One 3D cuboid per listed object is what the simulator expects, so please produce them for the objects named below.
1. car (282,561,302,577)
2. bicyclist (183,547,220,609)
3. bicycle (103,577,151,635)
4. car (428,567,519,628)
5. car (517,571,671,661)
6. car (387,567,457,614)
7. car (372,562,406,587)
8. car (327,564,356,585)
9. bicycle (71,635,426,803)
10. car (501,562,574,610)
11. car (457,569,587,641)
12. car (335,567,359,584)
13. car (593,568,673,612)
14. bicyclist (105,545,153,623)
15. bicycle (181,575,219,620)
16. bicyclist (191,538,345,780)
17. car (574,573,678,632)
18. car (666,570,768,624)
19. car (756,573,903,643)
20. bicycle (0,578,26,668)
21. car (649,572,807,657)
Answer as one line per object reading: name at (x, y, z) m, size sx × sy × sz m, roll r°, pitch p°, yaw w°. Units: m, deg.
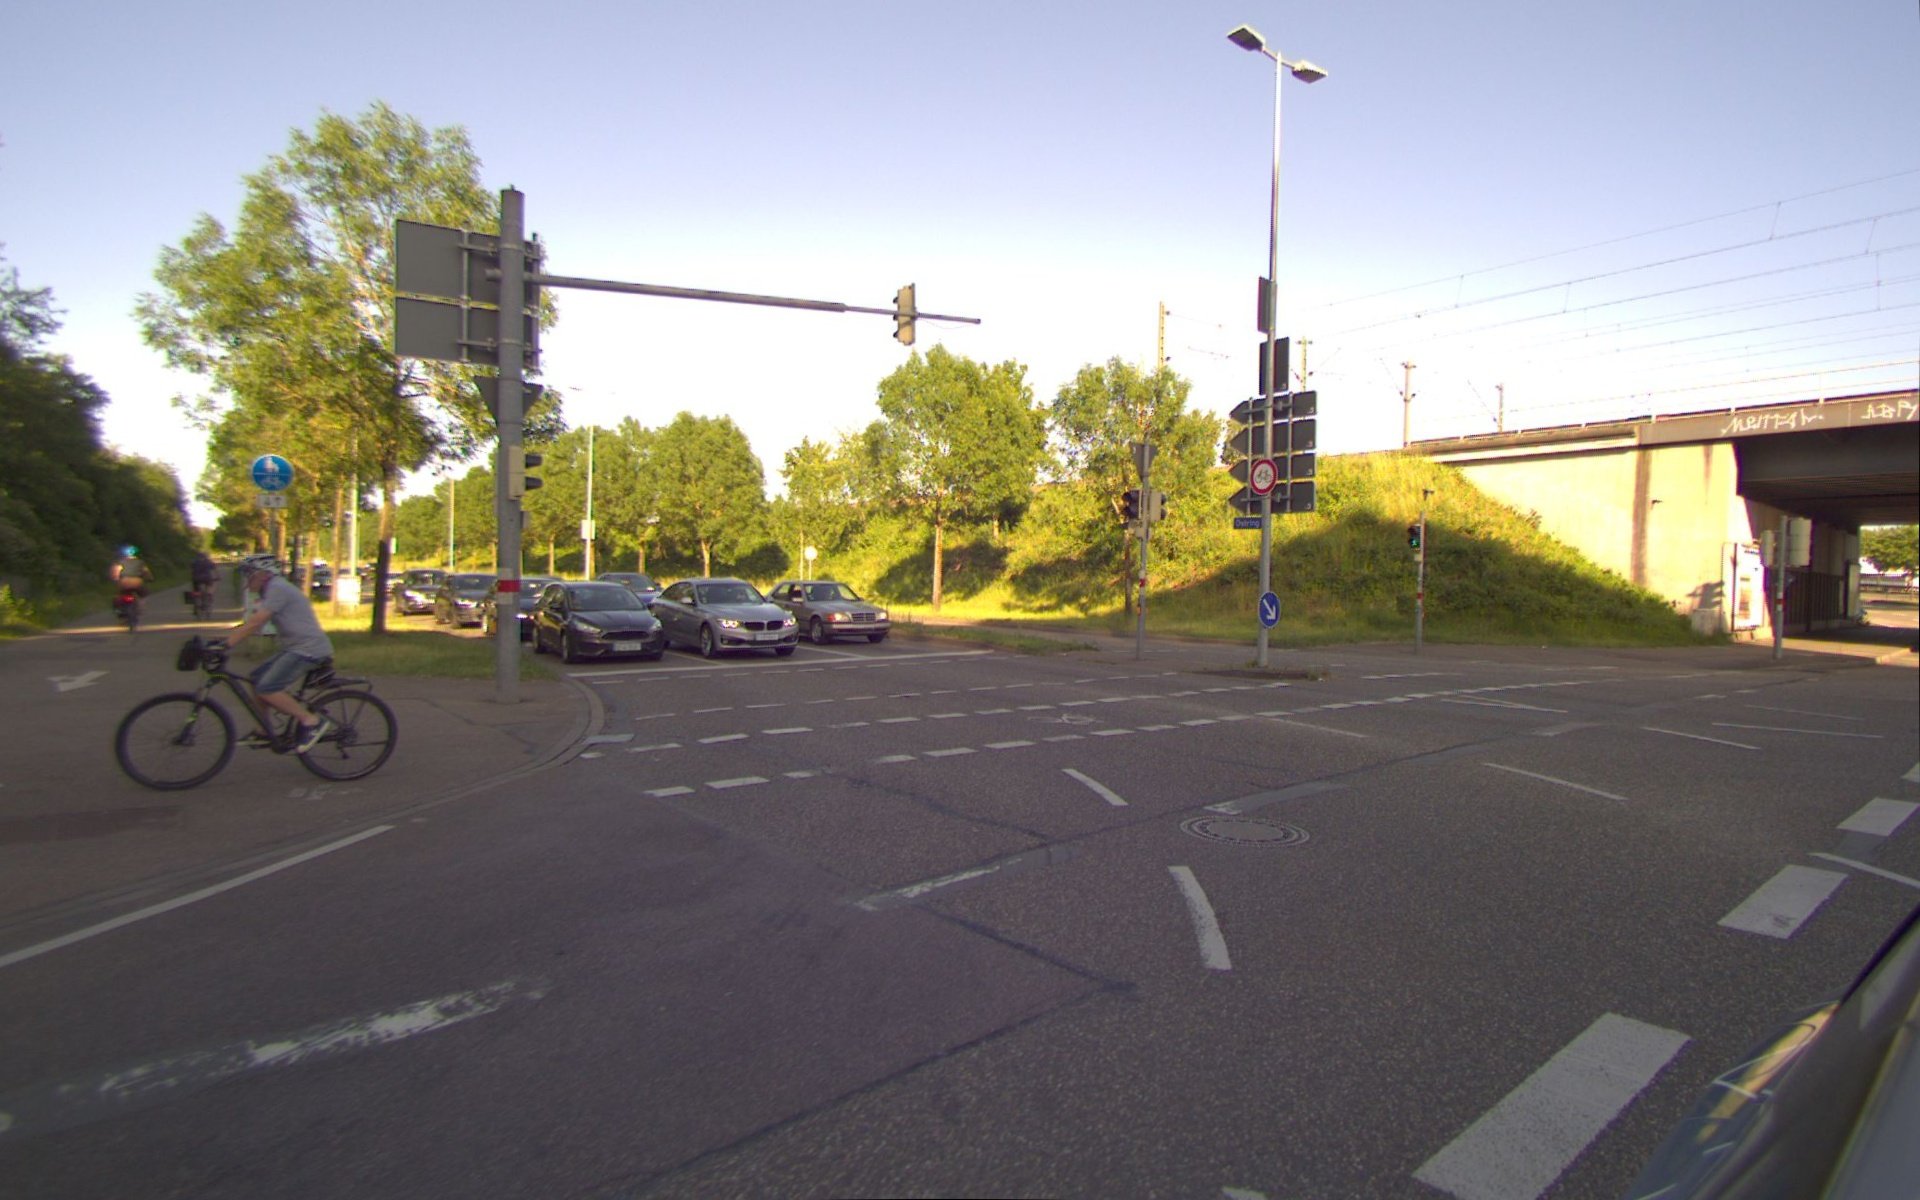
car at (-66.459, -3.073, 100.624) m, size 1.590 × 1.548 × 3.856 m, roll -2°, pitch 3°, yaw -34°
bicyclist at (-20.177, -0.592, 26.916) m, size 0.687 × 1.567 × 0.814 m, roll 4°, pitch 0°, yaw -39°
bicycle at (-17.199, 0.103, 20.930) m, size 0.687 × 1.049 × 2.262 m, roll 4°, pitch 0°, yaw -39°
car at (-14.040, -0.141, 29.081) m, size 1.740 × 1.548 × 4.142 m, roll -2°, pitch 3°, yaw -34°
car at (-7.126, 0.211, 19.472) m, size 1.772 × 1.493 × 4.000 m, roll -1°, pitch 3°, yaw -35°
car at (-19.373, -0.393, 36.377) m, size 1.759 × 1.548 × 3.856 m, roll -2°, pitch 3°, yaw -34°
car at (-37.371, -1.690, 66.207) m, size 1.590 × 1.548 × 3.856 m, roll -2°, pitch 3°, yaw -34°
car at (-57.155, -2.333, 93.499) m, size 1.818 × 1.830 × 3.997 m, roll 0°, pitch 1°, yaw -38°
bicycle at (-5.030, 0.782, 7.273) m, size 2.010 × 1.004 × 0.572 m, roll 1°, pitch 1°, yaw -41°
car at (-14.806, -0.538, 35.385) m, size 1.590 × 1.548 × 3.856 m, roll -2°, pitch 3°, yaw -34°
car at (-10.697, 0.044, 24.599) m, size 1.812 × 1.548 × 3.914 m, roll -2°, pitch 3°, yaw -41°
car at (-68.629, -2.694, 113.238) m, size 1.818 × 1.830 × 3.997 m, roll 0°, pitch 1°, yaw -38°
car at (-11.609, -0.397, 35.803) m, size 1.560 × 1.450 × 3.877 m, roll -1°, pitch 3°, yaw -36°
bicyclist at (-17.073, -0.332, 20.807) m, size 0.687 × 1.527 × 0.664 m, roll 4°, pitch 0°, yaw -39°
bicycle at (-20.265, -0.080, 26.981) m, size 0.687 × 1.049 × 2.262 m, roll 4°, pitch 0°, yaw -39°
bicyclist at (-4.999, 0.389, 7.313) m, size 0.850 × 1.630 × 0.566 m, roll 1°, pitch 1°, yaw -41°
car at (-8.964, 0.010, 26.948) m, size 1.468 × 1.376 × 3.999 m, roll -1°, pitch 3°, yaw -36°
car at (-7.315, -0.152, 30.217) m, size 1.560 × 1.450 × 3.999 m, roll -1°, pitch 3°, yaw -36°
car at (-3.156, 0.108, 23.816) m, size 1.782 × 1.450 × 4.000 m, roll -1°, pitch 3°, yaw -35°
bicycle at (-12.328, 0.309, 12.321) m, size 0.685 × 1.119 × 2.268 m, roll 4°, pitch 0°, yaw -25°
car at (-4.793, 0.202, 20.530) m, size 1.782 × 1.493 × 4.001 m, roll -1°, pitch 3°, yaw -34°
